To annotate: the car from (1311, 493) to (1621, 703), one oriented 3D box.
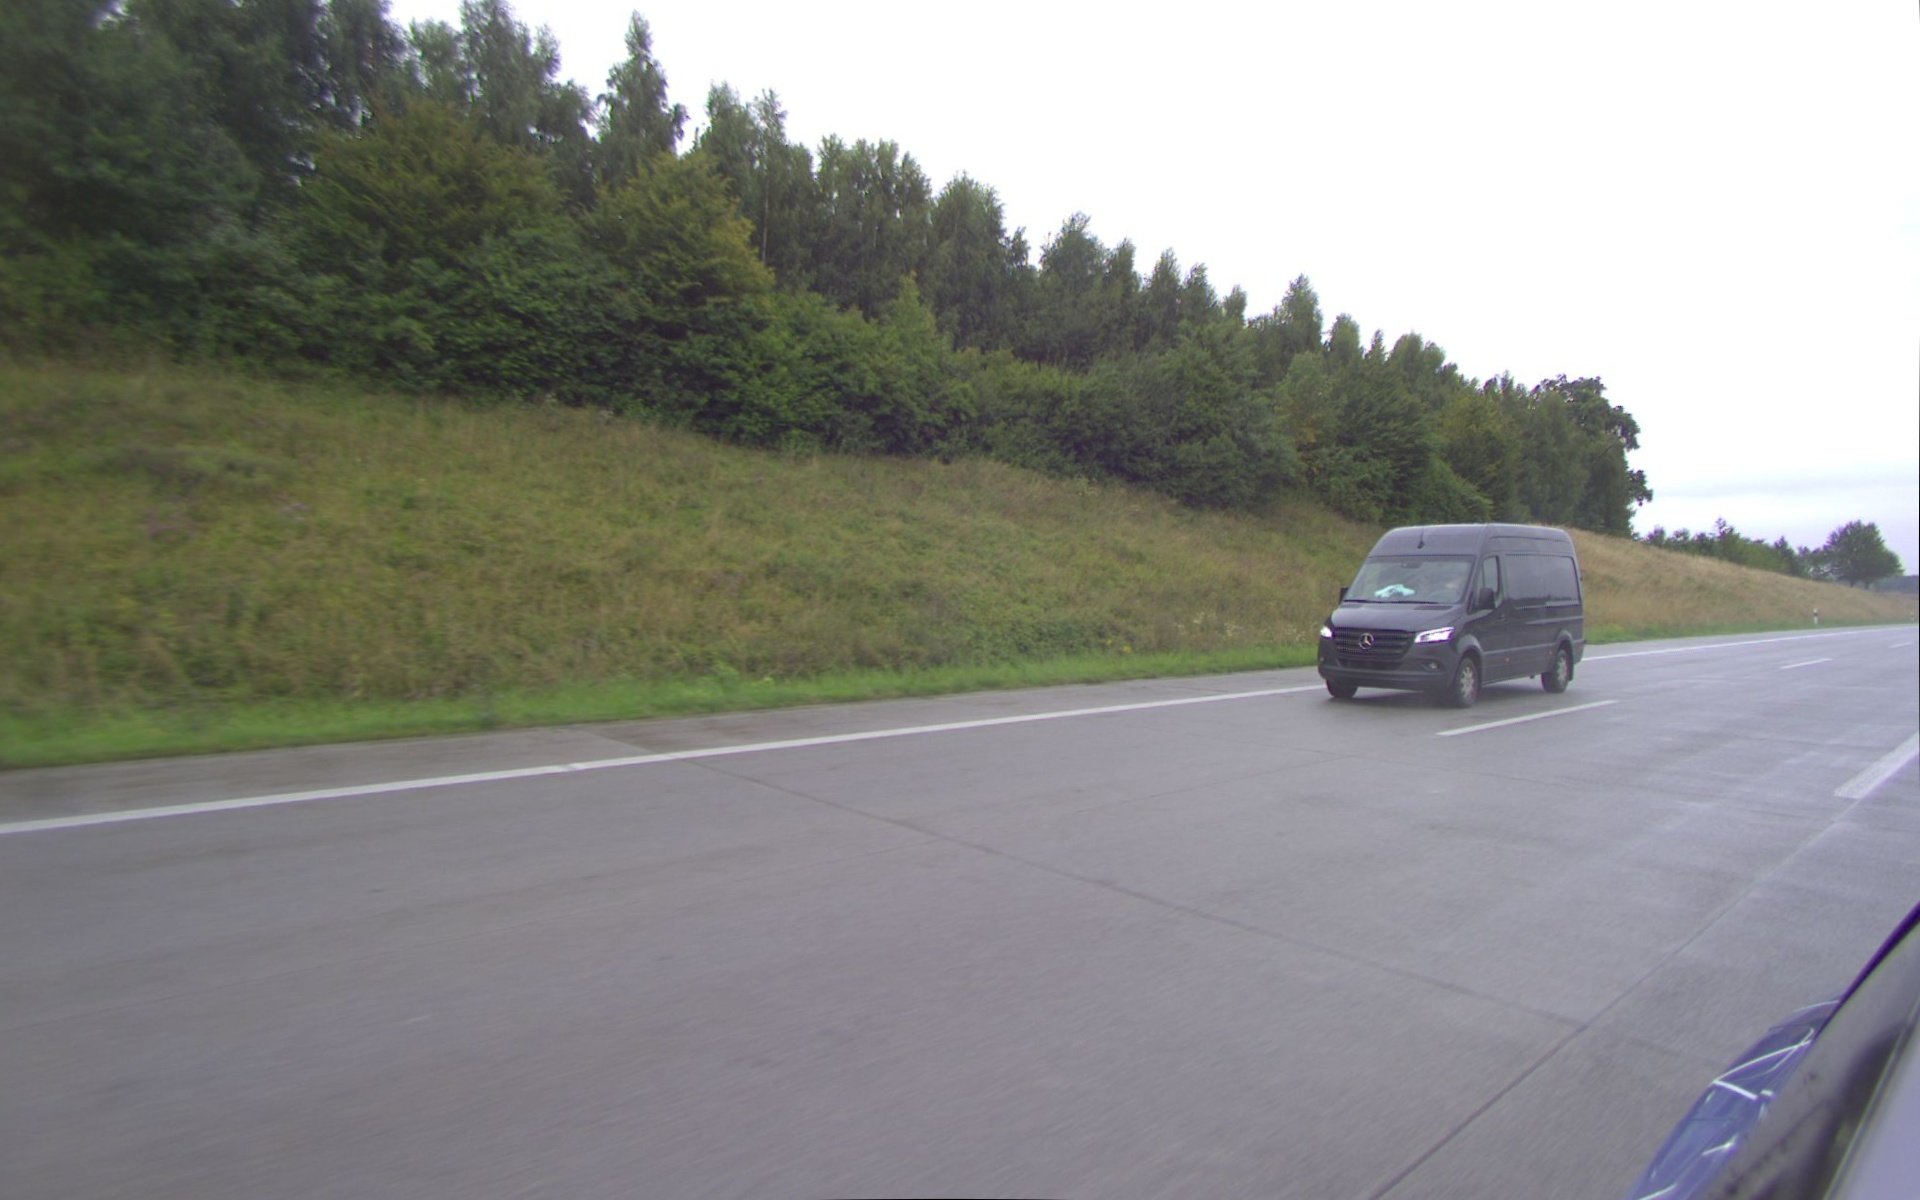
[{"bbox_3d":[8.098,-0.019,15.779,6.469,2.693,1.944,0,0,-40],"label":"car"}]
